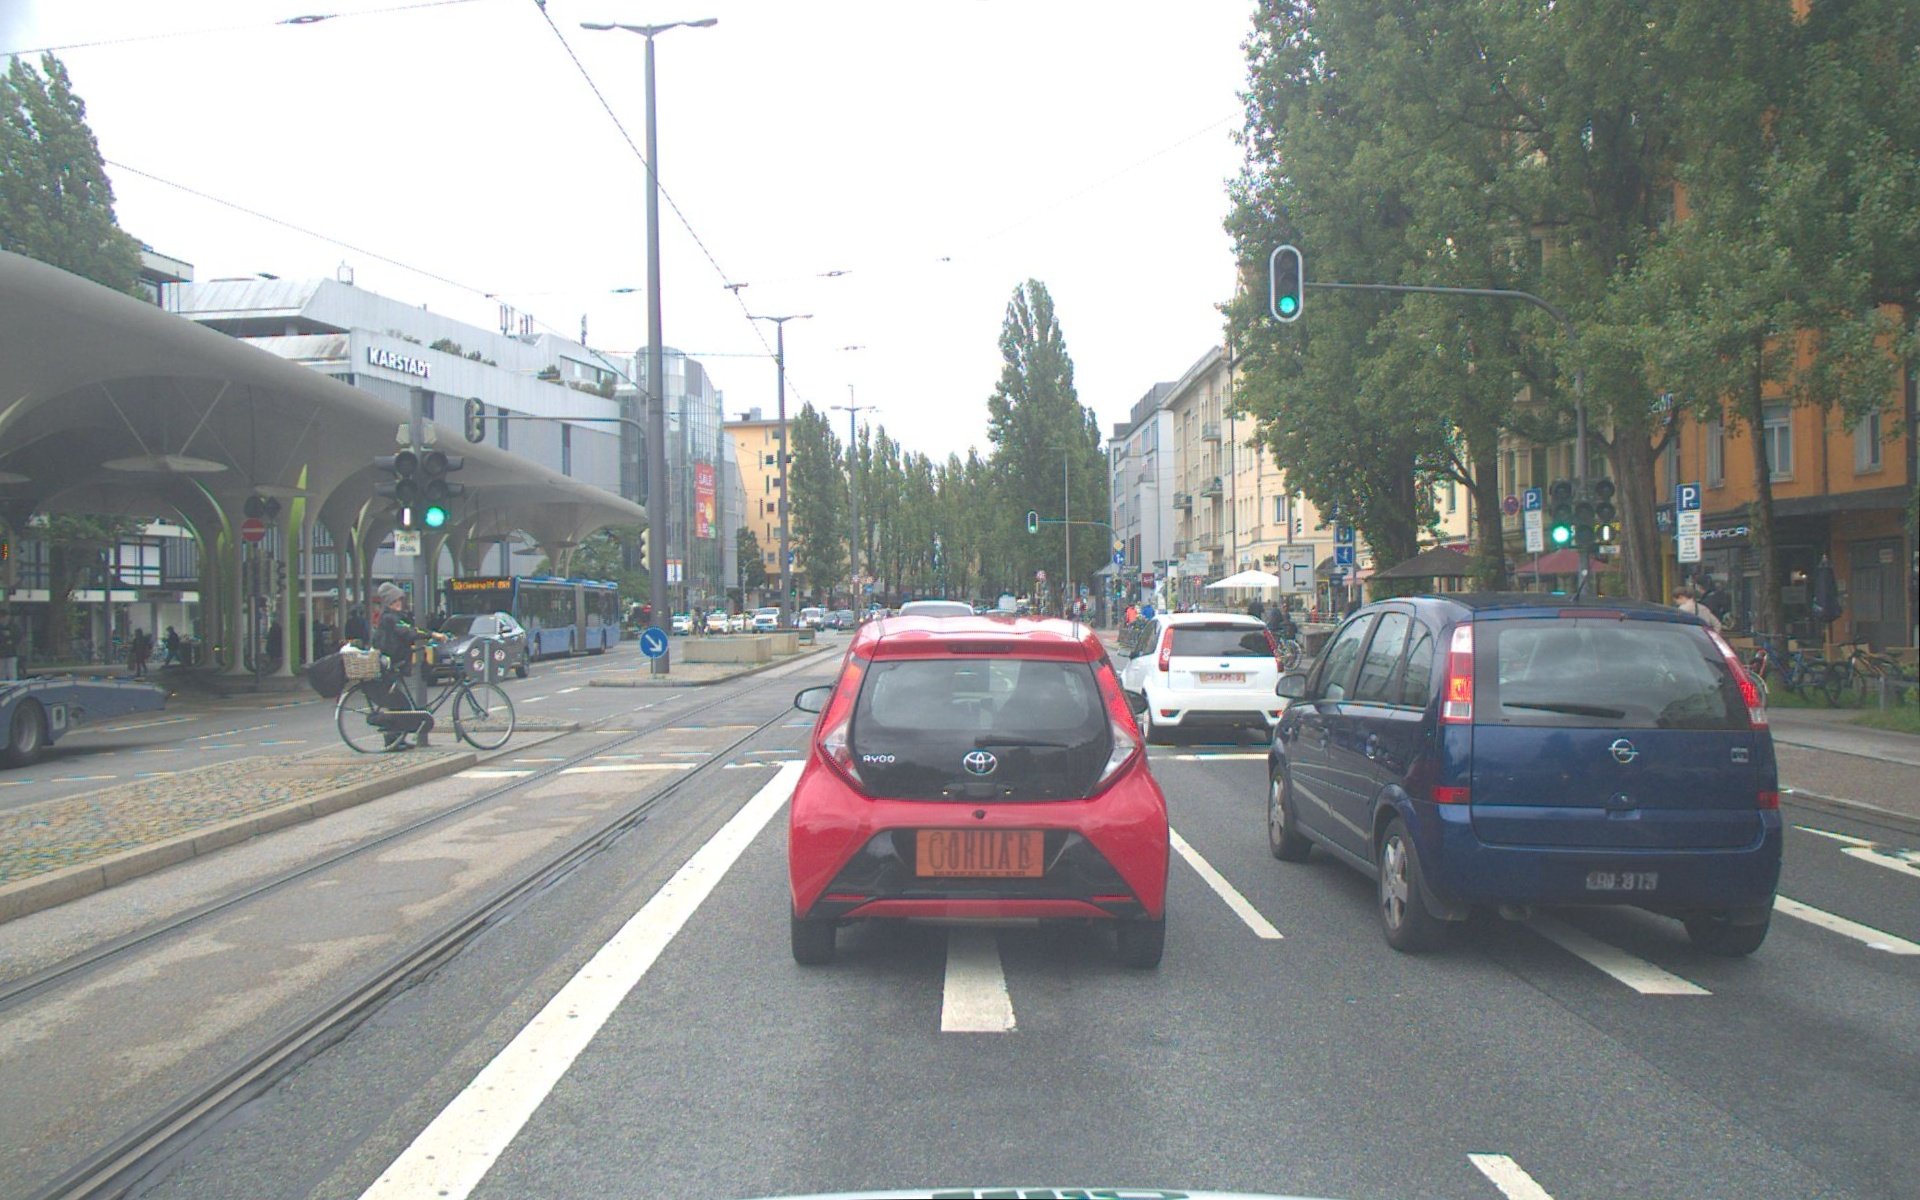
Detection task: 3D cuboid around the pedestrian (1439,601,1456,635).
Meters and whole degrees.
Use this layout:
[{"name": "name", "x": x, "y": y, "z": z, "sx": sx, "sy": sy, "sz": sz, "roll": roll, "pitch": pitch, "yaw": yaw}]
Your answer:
[{"name": "pedestrian", "x": 19.103, "y": 0.716, "z": 64.853, "sx": 0.485, "sy": 1.312, "sz": 0.552, "roll": -1, "pitch": -1, "yaw": -1}]

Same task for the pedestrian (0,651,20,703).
[{"name": "pedestrian", "x": -26.350, "y": 2.100, "z": 45.090, "sx": 0.942, "sy": 1.394, "sz": 0.841, "roll": -1, "pitch": -1, "yaw": 6}]

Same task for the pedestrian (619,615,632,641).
[{"name": "pedestrian", "x": -23.896, "y": 2.011, "z": 118.242, "sx": 0.739, "sy": 1.804, "sz": 0.767, "roll": -1, "pitch": 0, "yaw": -24}]

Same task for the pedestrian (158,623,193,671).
[{"name": "pedestrian", "x": -29.943, "y": 1.788, "z": 63.128, "sx": 0.853, "sy": 1.760, "sz": 0.895, "roll": -1, "pitch": 0, "yaw": -1}]

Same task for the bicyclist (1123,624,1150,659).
[{"name": "bicyclist", "x": 8.665, "y": 2.033, "z": 81.419, "sx": 0.609, "sy": 1.686, "sz": 1.234, "roll": -1, "pitch": 0, "yaw": -38}]

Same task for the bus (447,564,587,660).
[{"name": "bus", "x": -15.908, "y": 0.434, "z": 60.234, "sx": 2.607, "sy": 3.060, "sz": 10.509, "roll": -3, "pitch": 0, "yaw": -3}]

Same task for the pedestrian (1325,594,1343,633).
[{"name": "pedestrian", "x": 16.059, "y": 0.571, "z": 70.991, "sx": 0.602, "sy": 1.661, "sz": 0.677, "roll": -1, "pitch": -1, "yaw": -1}]

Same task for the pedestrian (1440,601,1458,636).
[{"name": "pedestrian", "x": 18.945, "y": 0.708, "z": 64.057, "sx": 0.485, "sy": 1.355, "sz": 0.552, "roll": -1, "pitch": -1, "yaw": -1}]

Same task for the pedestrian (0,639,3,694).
[{"name": "pedestrian", "x": -22.383, "y": 1.517, "z": 37.192, "sx": 0.793, "sy": 1.252, "sz": 1.271, "roll": -1, "pitch": 0, "yaw": 18}]

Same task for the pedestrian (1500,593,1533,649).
[{"name": "pedestrian", "x": 16.693, "y": 0.623, "z": 49.639, "sx": 0.696, "sy": 1.661, "sz": 0.786, "roll": -1, "pitch": -1, "yaw": -1}]

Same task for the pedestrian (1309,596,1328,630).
[{"name": "pedestrian", "x": 15.556, "y": 0.565, "z": 71.724, "sx": 0.662, "sy": 1.447, "sz": 0.616, "roll": -1, "pitch": -1, "yaw": -1}]

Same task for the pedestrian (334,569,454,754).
[{"name": "pedestrian", "x": -5.809, "y": 0.626, "z": 17.012, "sx": 0.840, "sy": 1.843, "sz": 0.898, "roll": 0, "pitch": -1, "yaw": 9}]

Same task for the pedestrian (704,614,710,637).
[{"name": "pedestrian", "x": -19.248, "y": 1.945, "z": 125.868, "sx": 0.437, "sy": 1.790, "sz": 0.355, "roll": -1, "pitch": 0, "yaw": -6}]

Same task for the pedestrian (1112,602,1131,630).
[{"name": "pedestrian", "x": 9.947, "y": 0.982, "z": 101.666, "sx": 0.820, "sy": 1.720, "sz": 0.816, "roll": -2, "pitch": 0, "yaw": 37}]

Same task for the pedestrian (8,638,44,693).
[{"name": "pedestrian", "x": -28.465, "y": 1.985, "z": 50.415, "sx": 0.633, "sy": 1.646, "sz": 0.700, "roll": -1, "pitch": -1, "yaw": 3}]

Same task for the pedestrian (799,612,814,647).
[{"name": "pedestrian", "x": -7.239, "y": 1.404, "z": 77.977, "sx": 0.513, "sy": 1.647, "sz": 0.461, "roll": -2, "pitch": -1, "yaw": 43}]

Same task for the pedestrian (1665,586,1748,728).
[{"name": "pedestrian", "x": 9.019, "y": 0.668, "z": 19.991, "sx": 0.750, "sy": 1.666, "sz": 0.690, "roll": -1, "pitch": 0, "yaw": -44}]

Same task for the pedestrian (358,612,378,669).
[{"name": "pedestrian", "x": -18.456, "y": 1.256, "z": 51.560, "sx": 0.557, "sy": 1.774, "sz": 0.751, "roll": -1, "pitch": 0, "yaw": -21}]

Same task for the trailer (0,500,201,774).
[{"name": "trailer", "x": -10.684, "y": 0.413, "z": 13.417, "sx": 2.558, "sy": 2.729, "sz": 15.629, "roll": -3, "pitch": 0, "yaw": -3}]

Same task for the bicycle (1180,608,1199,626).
[{"name": "bicycle", "x": 14.251, "y": 1.059, "z": 102.711, "sx": 0.486, "sy": 1.077, "sz": 1.858, "roll": -1, "pitch": 0, "yaw": -15}]

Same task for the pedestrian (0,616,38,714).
[{"name": "pedestrian", "x": -18.515, "y": 1.261, "z": 32.270, "sx": 0.796, "sy": 1.871, "sz": 0.662, "roll": -2, "pitch": -1, "yaw": 41}]

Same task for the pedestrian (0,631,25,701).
[{"name": "pedestrian", "x": -24.305, "y": 1.675, "z": 42.011, "sx": 0.795, "sy": 1.758, "sz": 0.669, "roll": -1, "pitch": -1, "yaw": -17}]

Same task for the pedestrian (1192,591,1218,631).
[{"name": "pedestrian", "x": 11.012, "y": 0.509, "z": 74.354, "sx": 0.867, "sy": 1.773, "sz": 0.854, "roll": -1, "pitch": -1, "yaw": -17}]

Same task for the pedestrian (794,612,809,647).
[{"name": "pedestrian", "x": -7.514, "y": 1.402, "z": 78.265, "sx": 0.482, "sy": 1.647, "sz": 0.551, "roll": -1, "pitch": -1, "yaw": -35}]

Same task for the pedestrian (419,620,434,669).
[{"name": "pedestrian", "x": -17.845, "y": 1.481, "z": 55.306, "sx": 0.385, "sy": 1.633, "sz": 0.390, "roll": -1, "pitch": -1, "yaw": -9}]

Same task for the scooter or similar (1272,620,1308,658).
[{"name": "scooter or similar", "x": 9.874, "y": 1.159, "z": 49.512, "sx": 0.760, "sy": 1.094, "sz": 1.256, "roll": -1, "pitch": 0, "yaw": -2}]

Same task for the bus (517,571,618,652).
[{"name": "bus", "x": -16.312, "y": 0.466, "z": 69.202, "sx": 2.607, "sy": 3.060, "sz": 7.509, "roll": -3, "pitch": 0, "yaw": -3}]

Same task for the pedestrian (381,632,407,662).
[{"name": "pedestrian", "x": -25.366, "y": 2.101, "z": 74.124, "sx": 0.832, "sy": 1.340, "sz": 0.865, "roll": 0, "pitch": -1, "yaw": -45}]

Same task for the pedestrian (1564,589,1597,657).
[{"name": "pedestrian", "x": 16.478, "y": 0.603, "z": 43.911, "sx": 0.588, "sy": 1.770, "sz": 0.666, "roll": -1, "pitch": -1, "yaw": -1}]

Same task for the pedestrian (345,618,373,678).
[{"name": "pedestrian", "x": -17.923, "y": 1.421, "z": 49.327, "sx": 0.702, "sy": 1.752, "sz": 0.877, "roll": -1, "pitch": -1, "yaw": -18}]

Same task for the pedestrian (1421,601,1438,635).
[{"name": "pedestrian", "x": 18.419, "y": 0.699, "z": 64.915, "sx": 0.485, "sy": 1.312, "sz": 0.552, "roll": -1, "pitch": -1, "yaw": -1}]

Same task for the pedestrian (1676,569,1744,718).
[{"name": "pedestrian", "x": 9.372, "y": 0.529, "z": 20.664, "sx": 0.686, "sy": 1.811, "sz": 0.649, "roll": 0, "pitch": 0, "yaw": 33}]

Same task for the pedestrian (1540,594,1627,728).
[{"name": "pedestrian", "x": 7.571, "y": 0.728, "z": 20.101, "sx": 0.744, "sy": 1.590, "sz": 0.762, "roll": -1, "pitch": 0, "yaw": -2}]

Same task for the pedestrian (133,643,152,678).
[{"name": "pedestrian", "x": -30.706, "y": 2.255, "z": 62.113, "sx": 0.568, "sy": 1.287, "sz": 0.513, "roll": -1, "pitch": 0, "yaw": -34}]

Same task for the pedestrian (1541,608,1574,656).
[{"name": "pedestrian", "x": 15.783, "y": 0.849, "z": 43.700, "sx": 0.588, "sy": 1.243, "sz": 0.666, "roll": -1, "pitch": -1, "yaw": -1}]

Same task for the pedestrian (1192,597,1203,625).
[{"name": "pedestrian", "x": 14.420, "y": 0.659, "z": 100.440, "sx": 0.554, "sy": 1.700, "sz": 0.562, "roll": -1, "pitch": 3, "yaw": 22}]

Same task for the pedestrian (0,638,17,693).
[{"name": "pedestrian", "x": -28.385, "y": 1.935, "z": 49.039, "sx": 0.653, "sy": 1.592, "sz": 0.637, "roll": -1, "pitch": -1, "yaw": -26}]

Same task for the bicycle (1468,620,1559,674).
[{"name": "bicycle", "x": 12.540, "y": 1.060, "z": 37.505, "sx": 1.848, "sy": 1.194, "sz": 0.582, "roll": -1, "pitch": -1, "yaw": 1}]

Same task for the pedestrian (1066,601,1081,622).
[{"name": "pedestrian", "x": 8.528, "y": 0.879, "z": 124.454, "sx": 0.803, "sy": 1.549, "sz": 0.789, "roll": -1, "pitch": 0, "yaw": -37}]

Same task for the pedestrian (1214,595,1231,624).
[{"name": "pedestrian", "x": 16.746, "y": 0.594, "z": 105.570, "sx": 0.914, "sy": 1.786, "sz": 1.065, "roll": -1, "pitch": 0, "yaw": 0}]
